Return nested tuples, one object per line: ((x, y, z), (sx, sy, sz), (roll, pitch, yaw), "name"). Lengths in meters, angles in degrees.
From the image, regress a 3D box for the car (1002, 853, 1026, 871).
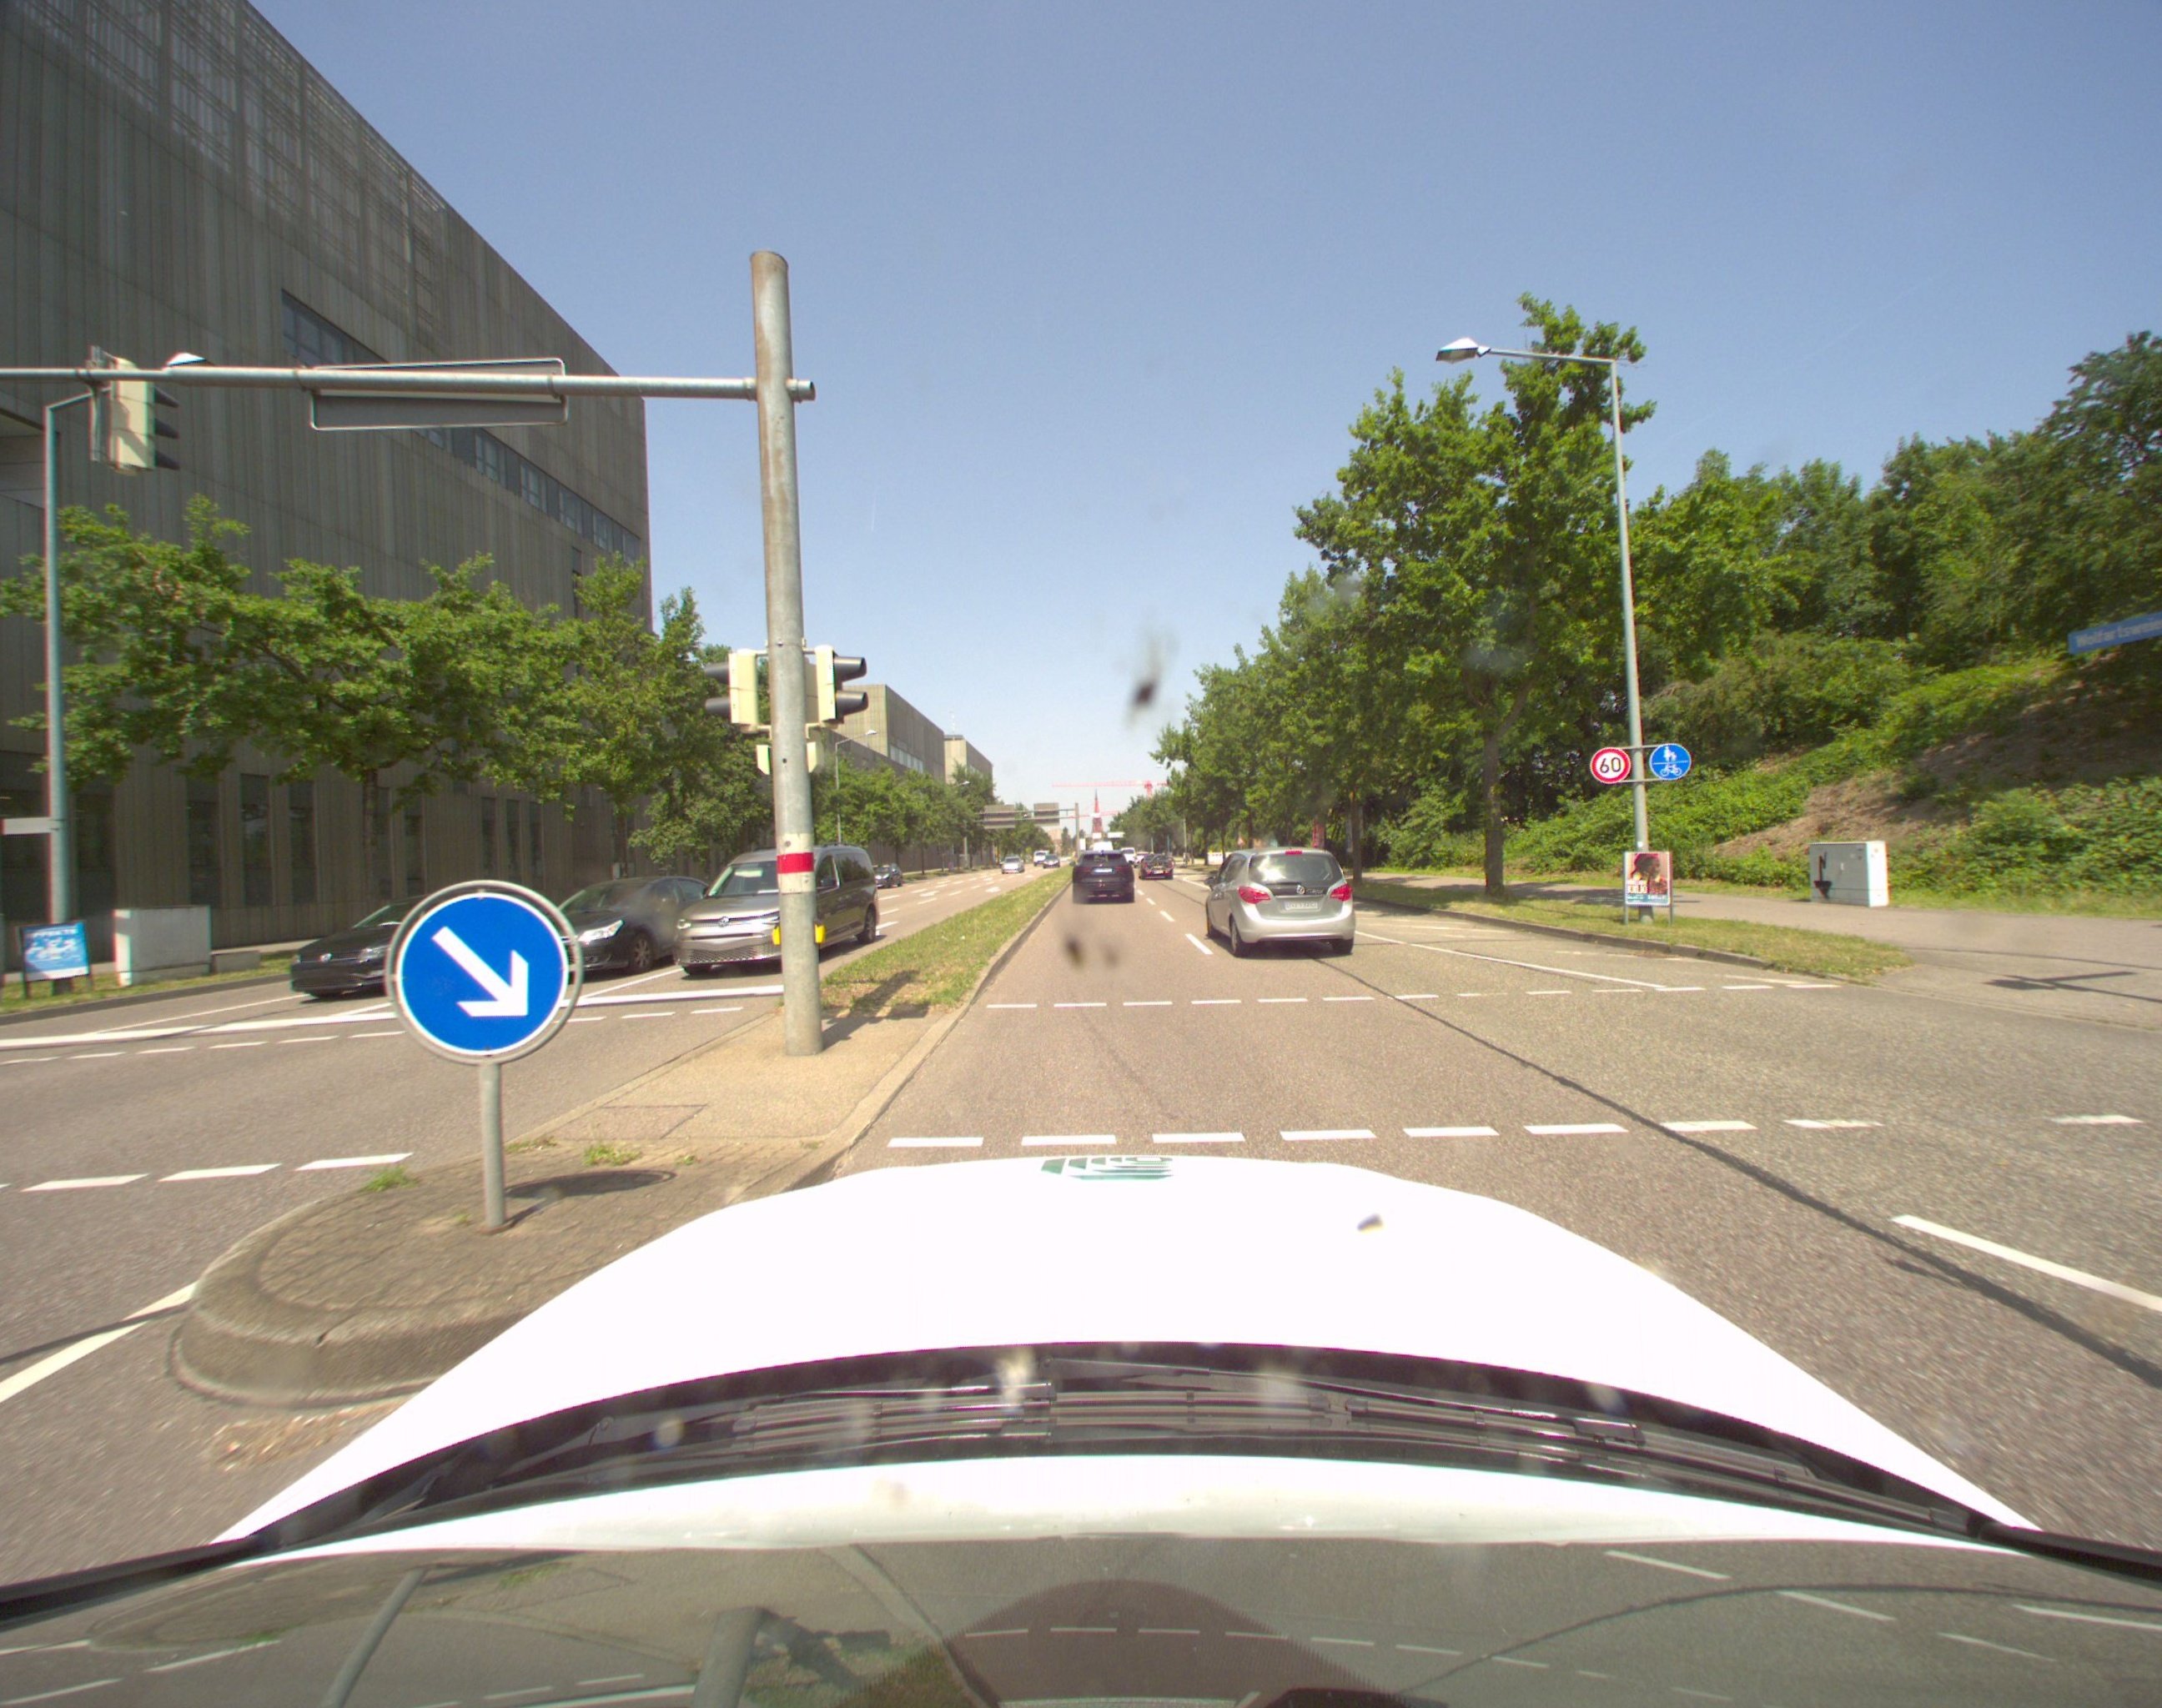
((-5.972, 0.664, 72.741), (1.760, 1.460, 4.143), (-4, 0, -1), "car")

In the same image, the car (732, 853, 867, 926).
((-7.508, 0.876, 22.261), (1.795, 1.663, 4.577), (-3, 0, 3), "car")

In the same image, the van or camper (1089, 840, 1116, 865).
((2.144, -0.122, 81.509), (2.484, 2.291, 4.922), (-3, 0, 1), "van or camper")

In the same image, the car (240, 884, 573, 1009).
((-10.501, 1.340, 13.206), (1.805, 1.417, 4.249), (-3, 0, -1), "car")

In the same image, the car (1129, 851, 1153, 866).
((5.653, 0.421, 76.897), (1.651, 1.356, 4.456), (-3, 0, -3), "car")

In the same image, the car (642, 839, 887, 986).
((-4.688, 0.739, 12.963), (1.803, 1.801, 4.716), (-4, 0, 2), "car")

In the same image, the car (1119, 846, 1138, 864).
((5.489, 0.102, 94.963), (1.986, 2.013, 4.002), (-2, 0, 2), "car")

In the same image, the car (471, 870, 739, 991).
((-7.388, 1.084, 13.246), (1.805, 1.446, 4.249), (-3, 0, -1), "car")

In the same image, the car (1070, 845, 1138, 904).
((0.791, 0.608, 26.338), (1.990, 1.689, 4.036), (-1, 0, 3), "car")

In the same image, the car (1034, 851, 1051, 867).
((-5.319, 0.655, 112.313), (1.903, 1.993, 4.898), (-4, 0, 1), "car")

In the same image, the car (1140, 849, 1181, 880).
((4.373, 0.571, 45.407), (2.006, 1.517, 4.464), (-3, 0, 3), "car")

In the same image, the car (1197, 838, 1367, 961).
((3.044, 0.620, 13.159), (1.786, 1.612, 3.891), (-2, 0, 1), "car")

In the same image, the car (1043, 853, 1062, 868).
((-3.084, 0.664, 87.722), (1.804, 1.466, 4.057), (-4, 0, 0), "car")

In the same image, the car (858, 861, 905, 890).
((-12.662, 1.335, 51.912), (1.805, 1.543, 4.368), (-6, 0, -1), "car")
